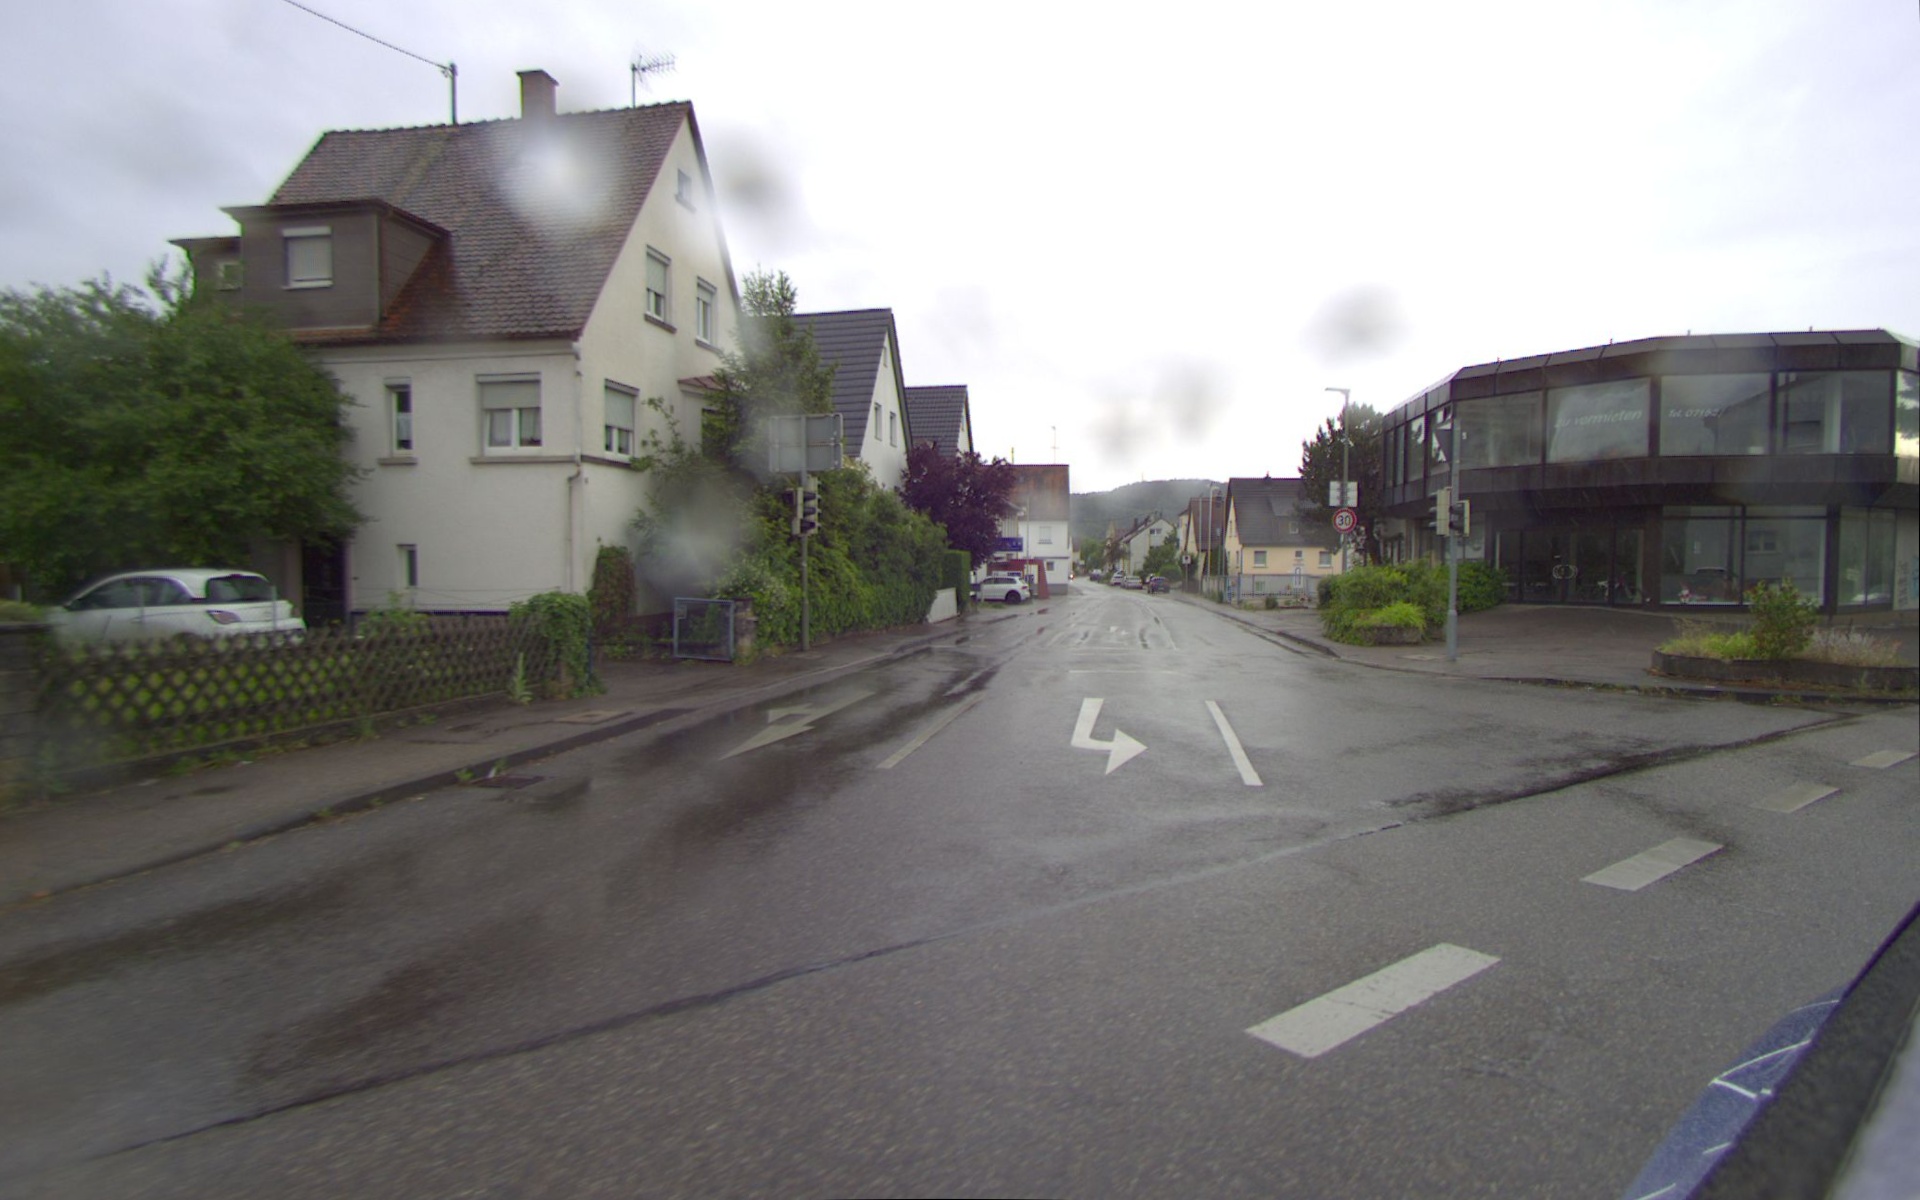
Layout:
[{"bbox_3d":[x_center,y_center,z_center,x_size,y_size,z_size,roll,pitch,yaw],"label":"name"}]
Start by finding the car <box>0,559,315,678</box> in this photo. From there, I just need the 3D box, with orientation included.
[{"bbox_3d":[-11.575,0.205,14.490,3.680,1.515,1.847,1,2,9],"label":"car"}]

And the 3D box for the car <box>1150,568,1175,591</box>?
[{"bbox_3d":[18.603,-1.888,93.190,1.966,2.038,3.993,1,2,7],"label":"car"}]

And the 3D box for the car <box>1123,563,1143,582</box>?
[{"bbox_3d":[19.495,-3.121,114.083,1.965,2.038,3.994,1,2,6],"label":"car"}]

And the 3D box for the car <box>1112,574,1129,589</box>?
[{"bbox_3d":[21.621,-2.503,136.399,1.965,2.038,3.995,1,2,6],"label":"car"}]

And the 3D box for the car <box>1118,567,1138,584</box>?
[{"bbox_3d":[20.037,-2.925,120.862,1.965,2.038,3.995,1,2,6],"label":"car"}]
